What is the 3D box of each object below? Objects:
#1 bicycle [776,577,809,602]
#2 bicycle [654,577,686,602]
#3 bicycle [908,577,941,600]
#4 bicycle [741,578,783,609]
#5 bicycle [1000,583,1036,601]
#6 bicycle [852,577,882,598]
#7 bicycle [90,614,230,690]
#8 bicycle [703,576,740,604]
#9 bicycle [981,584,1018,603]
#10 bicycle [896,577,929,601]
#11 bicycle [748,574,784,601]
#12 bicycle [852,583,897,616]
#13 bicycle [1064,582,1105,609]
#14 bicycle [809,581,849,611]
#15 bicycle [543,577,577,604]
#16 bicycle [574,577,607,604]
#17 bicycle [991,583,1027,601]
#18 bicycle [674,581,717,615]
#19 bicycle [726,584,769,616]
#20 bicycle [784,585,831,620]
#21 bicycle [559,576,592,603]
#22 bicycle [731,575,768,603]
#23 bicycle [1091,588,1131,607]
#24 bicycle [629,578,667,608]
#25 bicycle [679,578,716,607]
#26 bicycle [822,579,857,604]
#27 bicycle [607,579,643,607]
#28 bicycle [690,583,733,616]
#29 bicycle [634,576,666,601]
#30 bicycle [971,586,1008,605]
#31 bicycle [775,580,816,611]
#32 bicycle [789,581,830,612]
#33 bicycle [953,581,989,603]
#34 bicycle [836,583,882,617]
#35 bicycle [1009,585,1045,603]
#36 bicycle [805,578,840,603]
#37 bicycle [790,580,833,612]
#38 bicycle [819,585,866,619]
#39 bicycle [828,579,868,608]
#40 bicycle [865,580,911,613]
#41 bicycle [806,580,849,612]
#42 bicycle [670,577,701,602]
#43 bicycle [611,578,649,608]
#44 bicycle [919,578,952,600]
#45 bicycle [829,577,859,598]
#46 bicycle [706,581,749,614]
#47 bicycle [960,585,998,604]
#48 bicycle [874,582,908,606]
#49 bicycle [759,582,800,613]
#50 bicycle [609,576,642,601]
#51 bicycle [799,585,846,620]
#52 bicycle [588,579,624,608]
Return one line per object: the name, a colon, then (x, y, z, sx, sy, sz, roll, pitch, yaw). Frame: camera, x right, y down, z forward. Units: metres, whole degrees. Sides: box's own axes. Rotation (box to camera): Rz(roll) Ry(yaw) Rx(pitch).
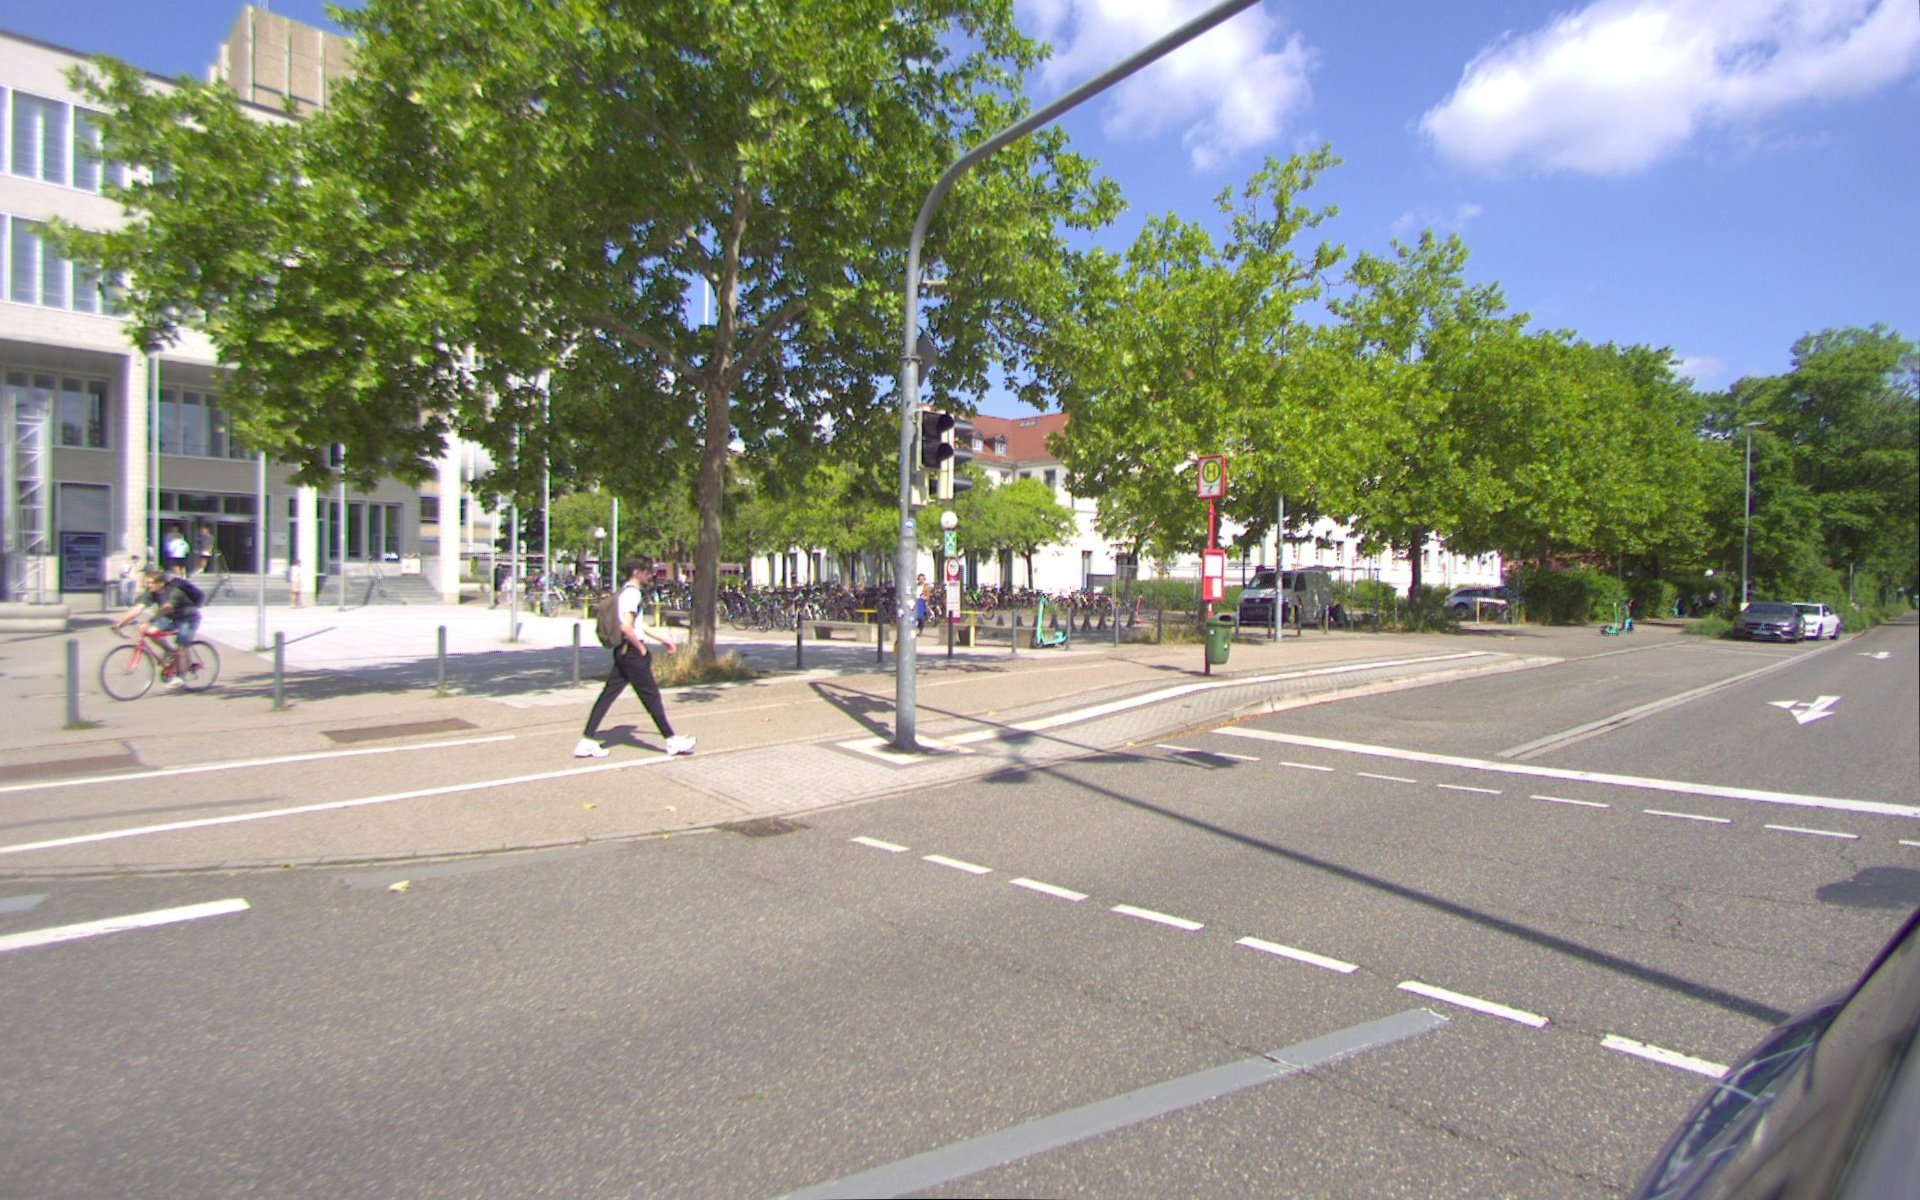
bicycle: (-7.774, -0.509, 46.894, 1.666, 1.110, 0.617, 2, 1, 42)
bicycle: (-13.425, -0.477, 46.808, 1.666, 1.110, 0.617, 2, 1, 41)
bicycle: (-1.786, -0.569, 50.233, 1.666, 1.110, 0.617, 2, 1, 42)
bicycle: (-7.227, -0.251, 36.885, 1.666, 1.110, 0.617, 2, 1, 42)
bicycle: (2.688, -0.389, 46.921, 1.666, 0.800, 0.617, 2, 1, 42)
bicycle: (-5.064, -0.674, 55.040, 1.666, 1.110, 0.617, 2, 1, 42)
bicycle: (-10.081, 0.631, 12.820, 0.608, 0.843, 1.516, 1, 2, -2)
bicycle: (-9.780, -0.436, 41.494, 1.666, 1.110, 0.617, 2, 1, 42)
bicycle: (1.784, -0.304, 45.822, 1.666, 0.800, 0.617, 2, 1, 42)
bicycle: (-2.311, -0.540, 49.325, 1.666, 1.110, 0.617, 2, 1, 42)
bicycle: (-8.262, -0.534, 43.129, 1.666, 1.110, 0.617, 2, 1, 42)
bicycle: (-3.011, -0.022, 35.524, 1.666, 1.110, 0.617, 2, 1, 42)
bicycle: (5.272, -0.192, 42.842, 1.666, 1.110, 0.617, 2, 1, 42)
bicycle: (-5.068, -0.176, 39.120, 1.666, 1.110, 0.617, 2, 1, 42)
bicycle: (-16.771, -0.410, 42.402, 1.666, 1.110, 0.617, 2, 1, 41)
bicycle: (-15.891, -0.425, 43.533, 1.666, 1.110, 0.617, 2, 1, 41)
bicycle: (2.239, -0.381, 46.390, 1.666, 0.800, 0.617, 2, 1, 42)
bicycle: (-9.047, -0.084, 34.580, 1.666, 1.110, 0.617, 2, 1, 41)
bicycle: (-7.636, -0.020, 36.322, 1.666, 1.110, 0.617, 2, 1, 42)
bicycle: (-5.008, 0.070, 33.178, 1.666, 1.110, 0.617, 2, 1, 42)
bicycle: (-16.327, -0.444, 42.963, 1.666, 1.110, 0.617, 2, 1, 41)
bicycle: (-8.825, -0.465, 42.392, 1.666, 1.110, 0.617, 2, 1, 42)
bicycle: (6.607, -0.117, 44.283, 1.666, 0.800, 0.617, 2, 1, 42)
bicycle: (-12.057, -0.276, 39.031, 1.666, 1.110, 0.617, 2, 1, 41)
bicycle: (-10.521, -0.322, 40.522, 1.666, 1.110, 0.617, 2, 1, 42)
bicycle: (-5.544, -0.408, 46.458, 1.666, 1.110, 0.617, 2, 1, 42)
bicycle: (-13.393, -0.284, 40.457, 1.666, 1.110, 0.617, 2, 1, 41)
bicycle: (-8.623, -0.036, 35.064, 1.666, 1.110, 0.617, 2, 1, 41)
bicycle: (-14.108, -0.547, 45.983, 1.666, 1.110, 0.617, 2, 1, 42)
bicycle: (1.322, -0.208, 45.276, 1.666, 0.800, 0.617, 2, 1, 42)
bicycle: (-6.184, -0.166, 38.021, 1.666, 1.110, 0.617, 2, 1, 42)
bicycle: (-5.757, -0.140, 38.600, 1.666, 1.110, 0.617, 2, 1, 42)
bicycle: (0.469, -0.343, 44.217, 1.666, 0.932, 0.465, 2, 1, 42)
bicycle: (-3.505, -0.004, 34.962, 1.666, 1.110, 0.617, 2, 1, 42)
bicycle: (3.154, -0.302, 47.482, 1.666, 0.800, 0.617, 2, 1, 42)
bicycle: (-6.180, -0.441, 45.438, 1.666, 1.110, 0.617, 2, 1, 42)
bicycle: (-5.340, -0.148, 36.345, 1.666, 1.110, 0.617, 2, 1, 42)
bicycle: (-3.991, 0.042, 34.383, 1.666, 1.110, 0.617, 2, 1, 42)
bicycle: (-4.401, -0.274, 39.669, 1.666, 1.110, 0.617, 2, 1, 42)
bicycle: (-2.575, -0.138, 36.092, 1.666, 1.110, 0.617, 2, 1, 42)
bicycle: (-4.832, -0.163, 36.928, 1.666, 1.110, 0.617, 2, 1, 42)
bicycle: (-12.887, -0.504, 47.495, 1.666, 1.110, 0.617, 2, 1, 41)
bicycle: (-12.558, -0.270, 38.512, 1.666, 1.110, 0.617, 2, 1, 41)
bicycle: (-1.243, -0.562, 51.165, 1.666, 1.110, 0.617, 2, 1, 42)
bicycle: (-6.189, -0.657, 53.844, 1.666, 1.110, 0.617, 2, 1, 42)
bicycle: (-8.178, -0.093, 35.565, 1.666, 1.110, 0.617, 2, 1, 42)
bicycle: (0.843, -0.253, 44.684, 1.666, 0.800, 0.617, 2, 1, 42)
bicycle: (-3.325, -0.301, 48.769, 1.666, 1.110, 0.617, 2, 1, 42)
bicycle: (-6.687, -0.100, 37.467, 1.666, 1.110, 0.617, 2, 1, 42)
bicycle: (-14.936, -0.518, 45.193, 1.666, 1.110, 0.617, 2, 1, 41)
bicycle: (-4.592, 0.076, 33.791, 1.666, 1.110, 0.617, 2, 1, 42)
bicycle: (-13.935, -0.276, 39.836, 1.666, 1.110, 0.617, 2, 1, 41)
